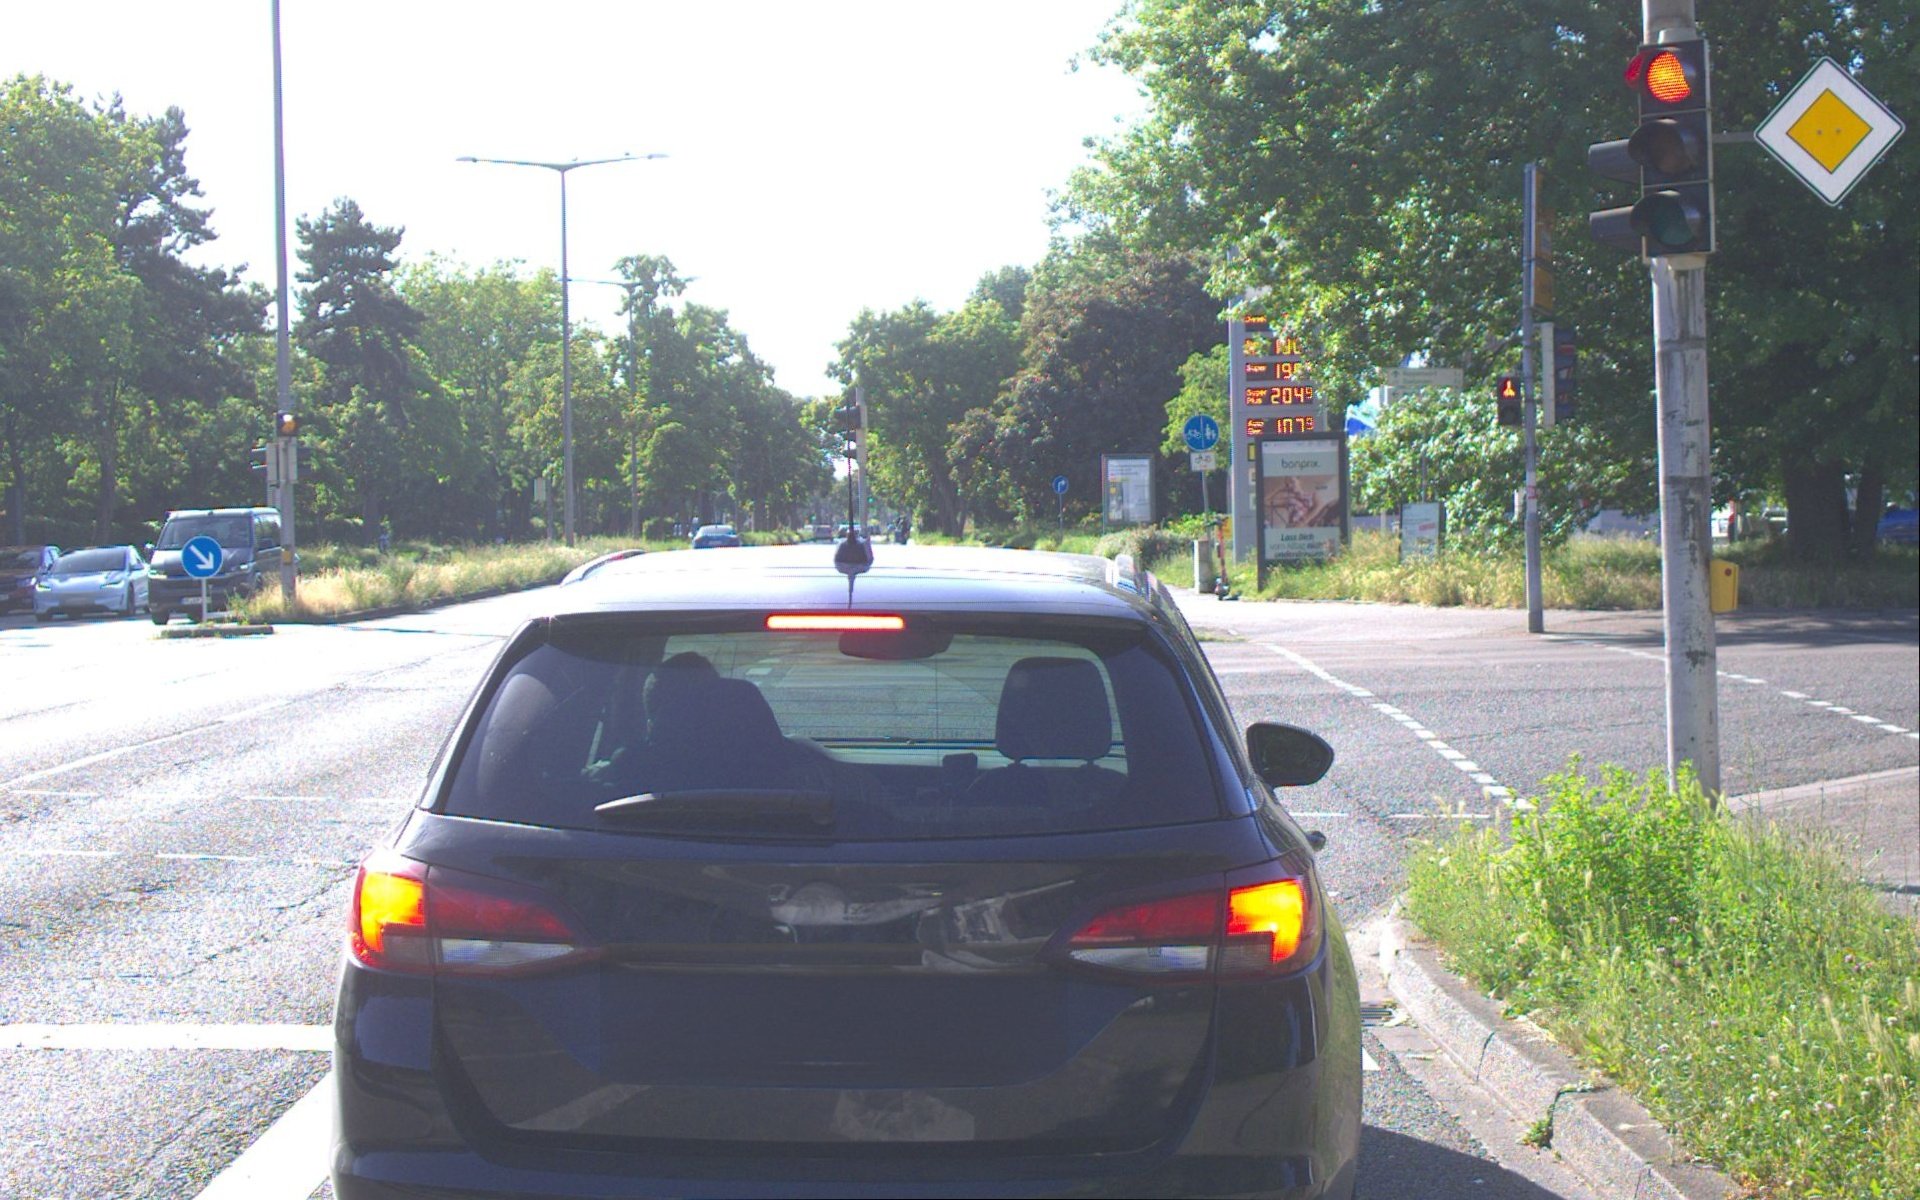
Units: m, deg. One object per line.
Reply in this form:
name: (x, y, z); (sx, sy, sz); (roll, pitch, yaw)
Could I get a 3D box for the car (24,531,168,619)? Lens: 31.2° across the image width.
car: (-17.183, -0.506, 68.513); (1.864, 1.678, 4.000); (1, 1, -1)

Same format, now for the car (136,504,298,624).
car: (-13.052, -0.645, 60.610); (1.993, 2.007, 4.000); (1, 1, -1)

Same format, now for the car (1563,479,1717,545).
car: (18.263, -2.349, 92.413); (3.711, 1.679, 1.704); (1, 1, -3)

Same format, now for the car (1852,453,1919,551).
car: (16.824, -1.584, 56.965); (3.836, 1.558, 1.805); (1, 1, -32)

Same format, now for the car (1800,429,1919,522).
car: (18.045, -2.332, 65.253); (3.711, 1.679, 1.704); (1, 1, -3)

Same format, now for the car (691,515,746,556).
car: (-9.327, -2.489, 132.889); (1.888, 1.546, 4.000); (-1, 1, -1)

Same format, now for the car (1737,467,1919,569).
car: (15.471, -1.398, 59.439); (3.711, 1.679, 1.704); (1, 1, -27)

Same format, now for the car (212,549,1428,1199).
car: (-0.228, 0.657, 6.882); (1.755, 1.504, 3.809); (0, 1, -1)

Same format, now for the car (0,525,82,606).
car: (-21.072, -0.778, 76.590); (1.993, 1.744, 4.000); (-1, 1, -1)
